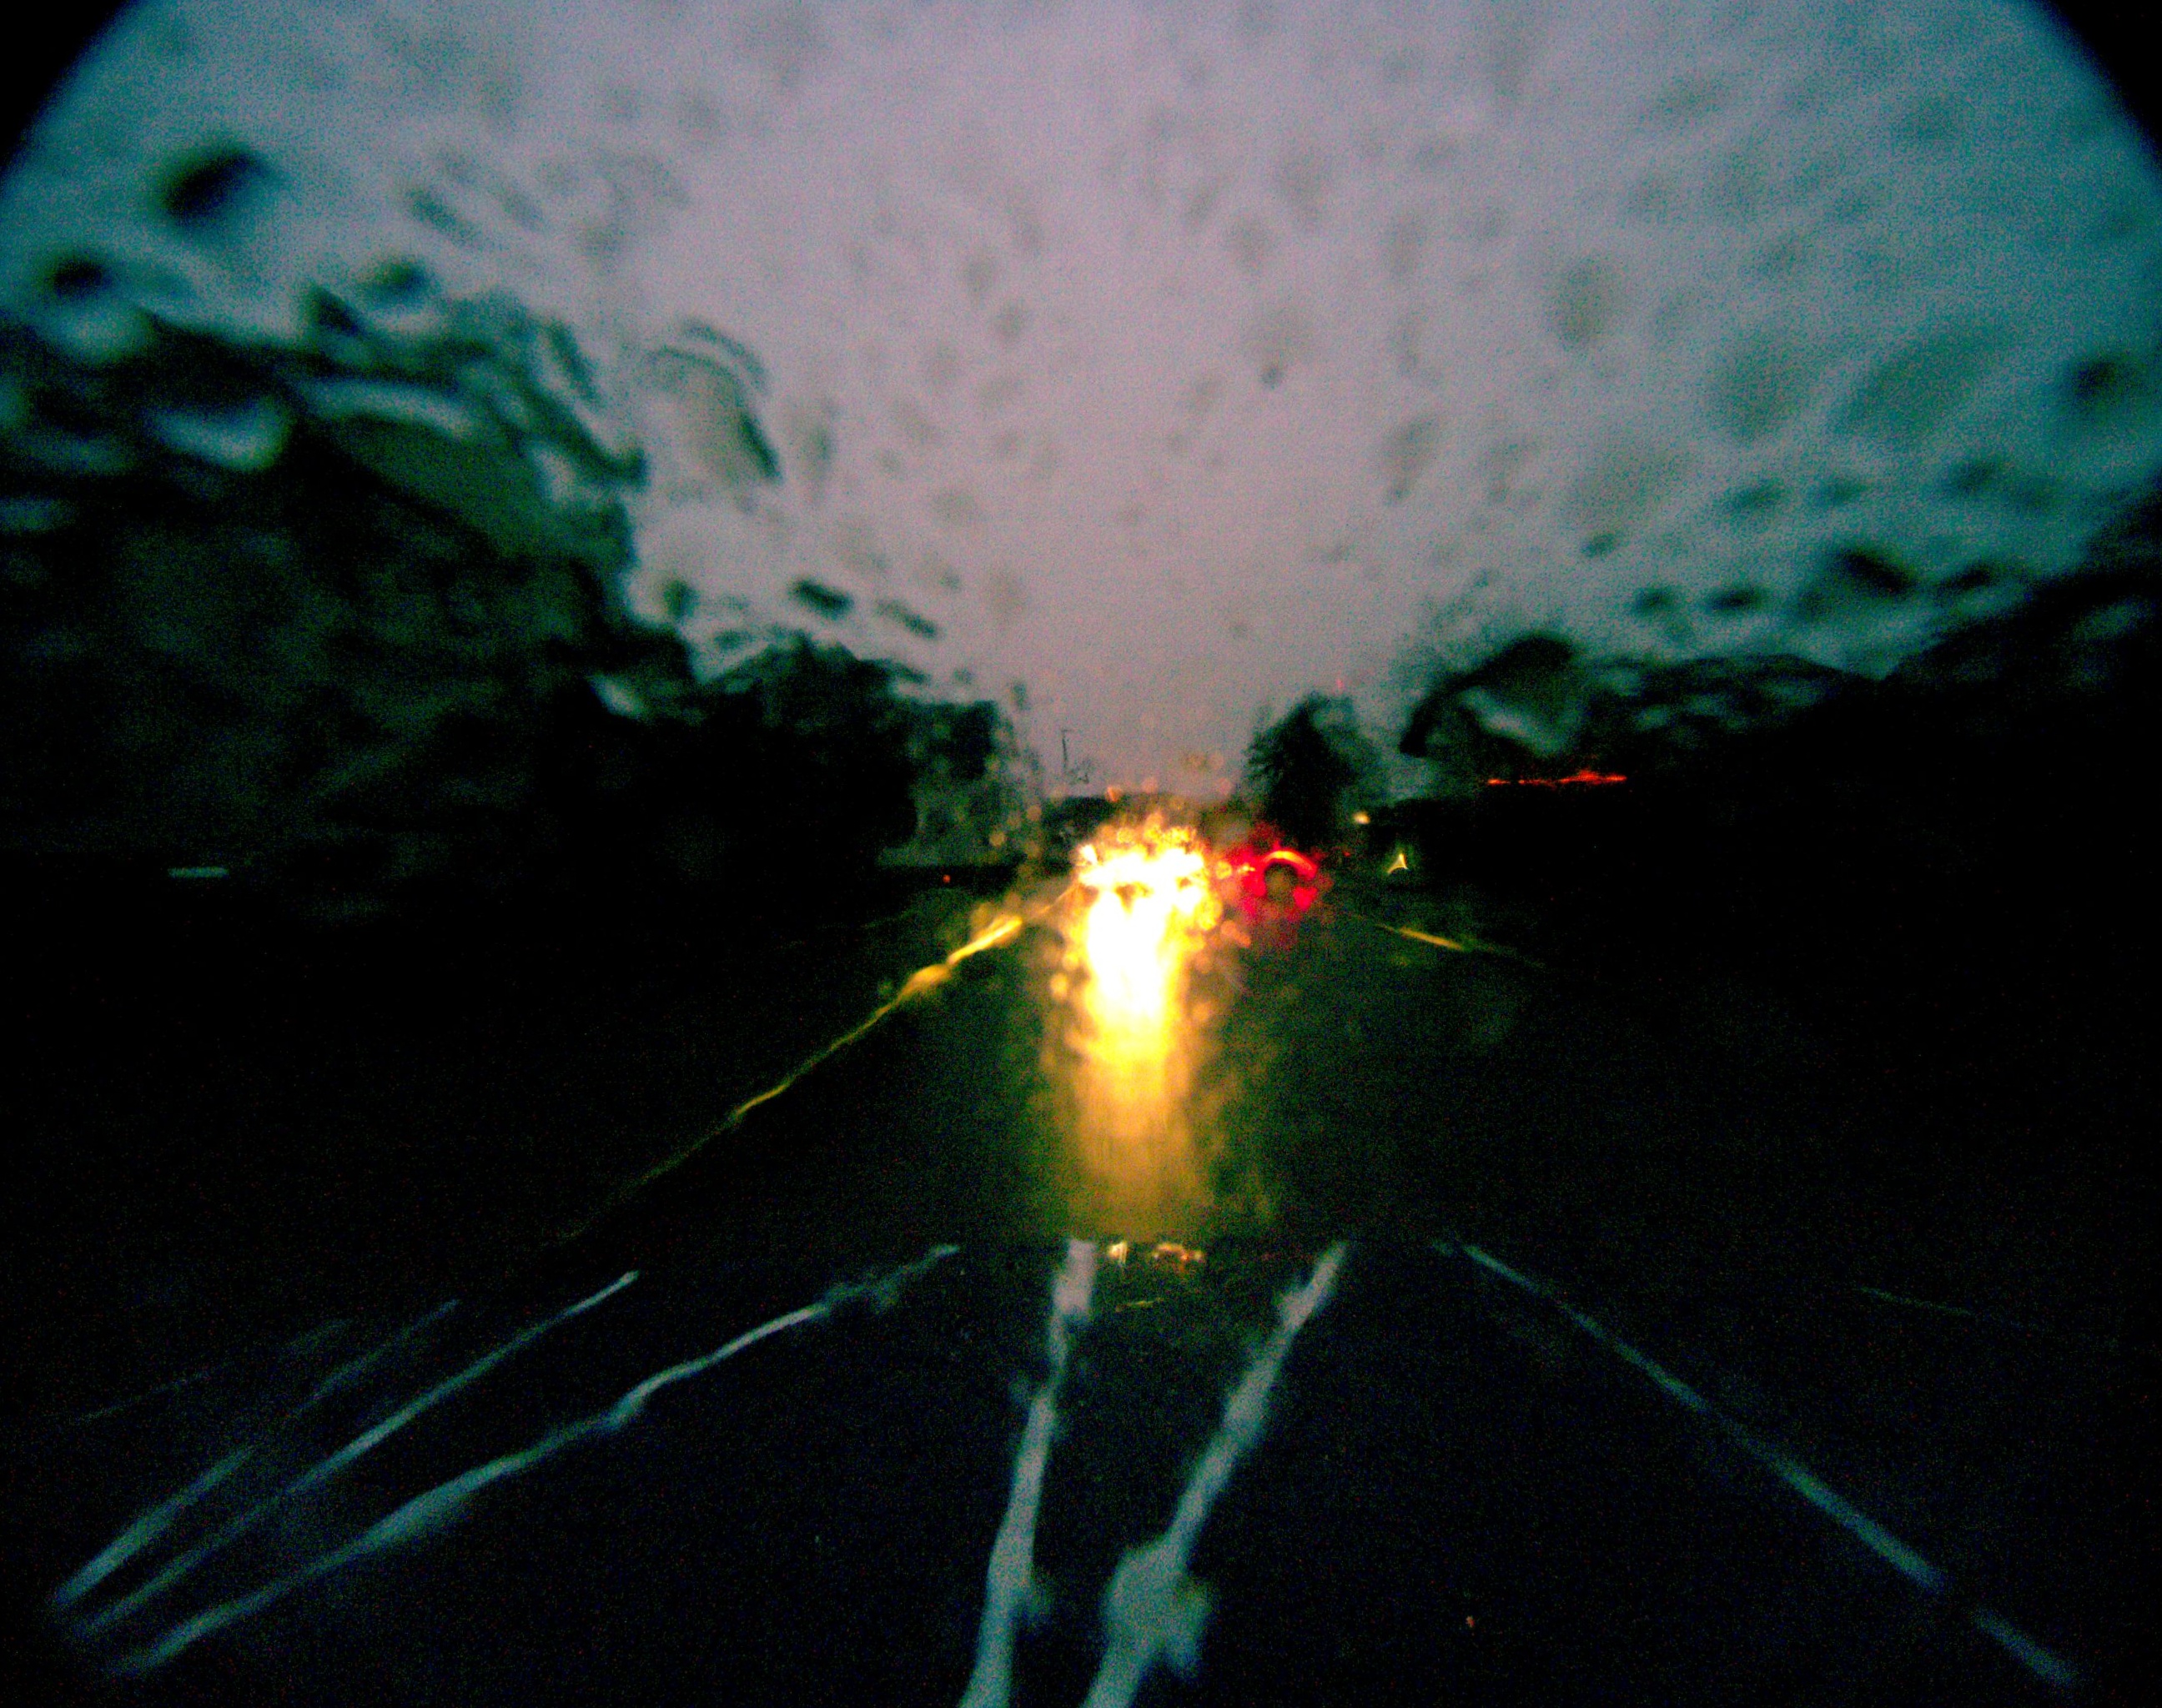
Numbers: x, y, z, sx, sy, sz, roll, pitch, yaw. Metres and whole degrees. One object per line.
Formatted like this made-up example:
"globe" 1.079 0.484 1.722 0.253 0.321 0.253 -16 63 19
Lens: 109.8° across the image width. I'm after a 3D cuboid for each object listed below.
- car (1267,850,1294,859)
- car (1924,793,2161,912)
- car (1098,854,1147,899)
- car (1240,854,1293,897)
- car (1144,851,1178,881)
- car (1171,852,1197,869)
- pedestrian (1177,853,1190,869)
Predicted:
"car" 34.928 0.129 133.250 4.181 1.432 1.798 -3 -1 0
"car" 23.808 -0.065 17.822 5.348 2.546 2.001 -2 1 8
"car" 1.726 0.831 30.695 1.775 1.632 4.423 -1 0 4
"car" 7.321 0.799 30.296 1.826 1.545 4.003 0 0 11
"car" 4.995 0.702 46.970 1.897 1.689 4.242 -4 0 7
"car" 9.385 0.586 69.095 1.997 1.464 4.004 -2 0 12
"pedestrian" 12.154 0.835 90.286 1.256 1.855 1.305 1 1 21
